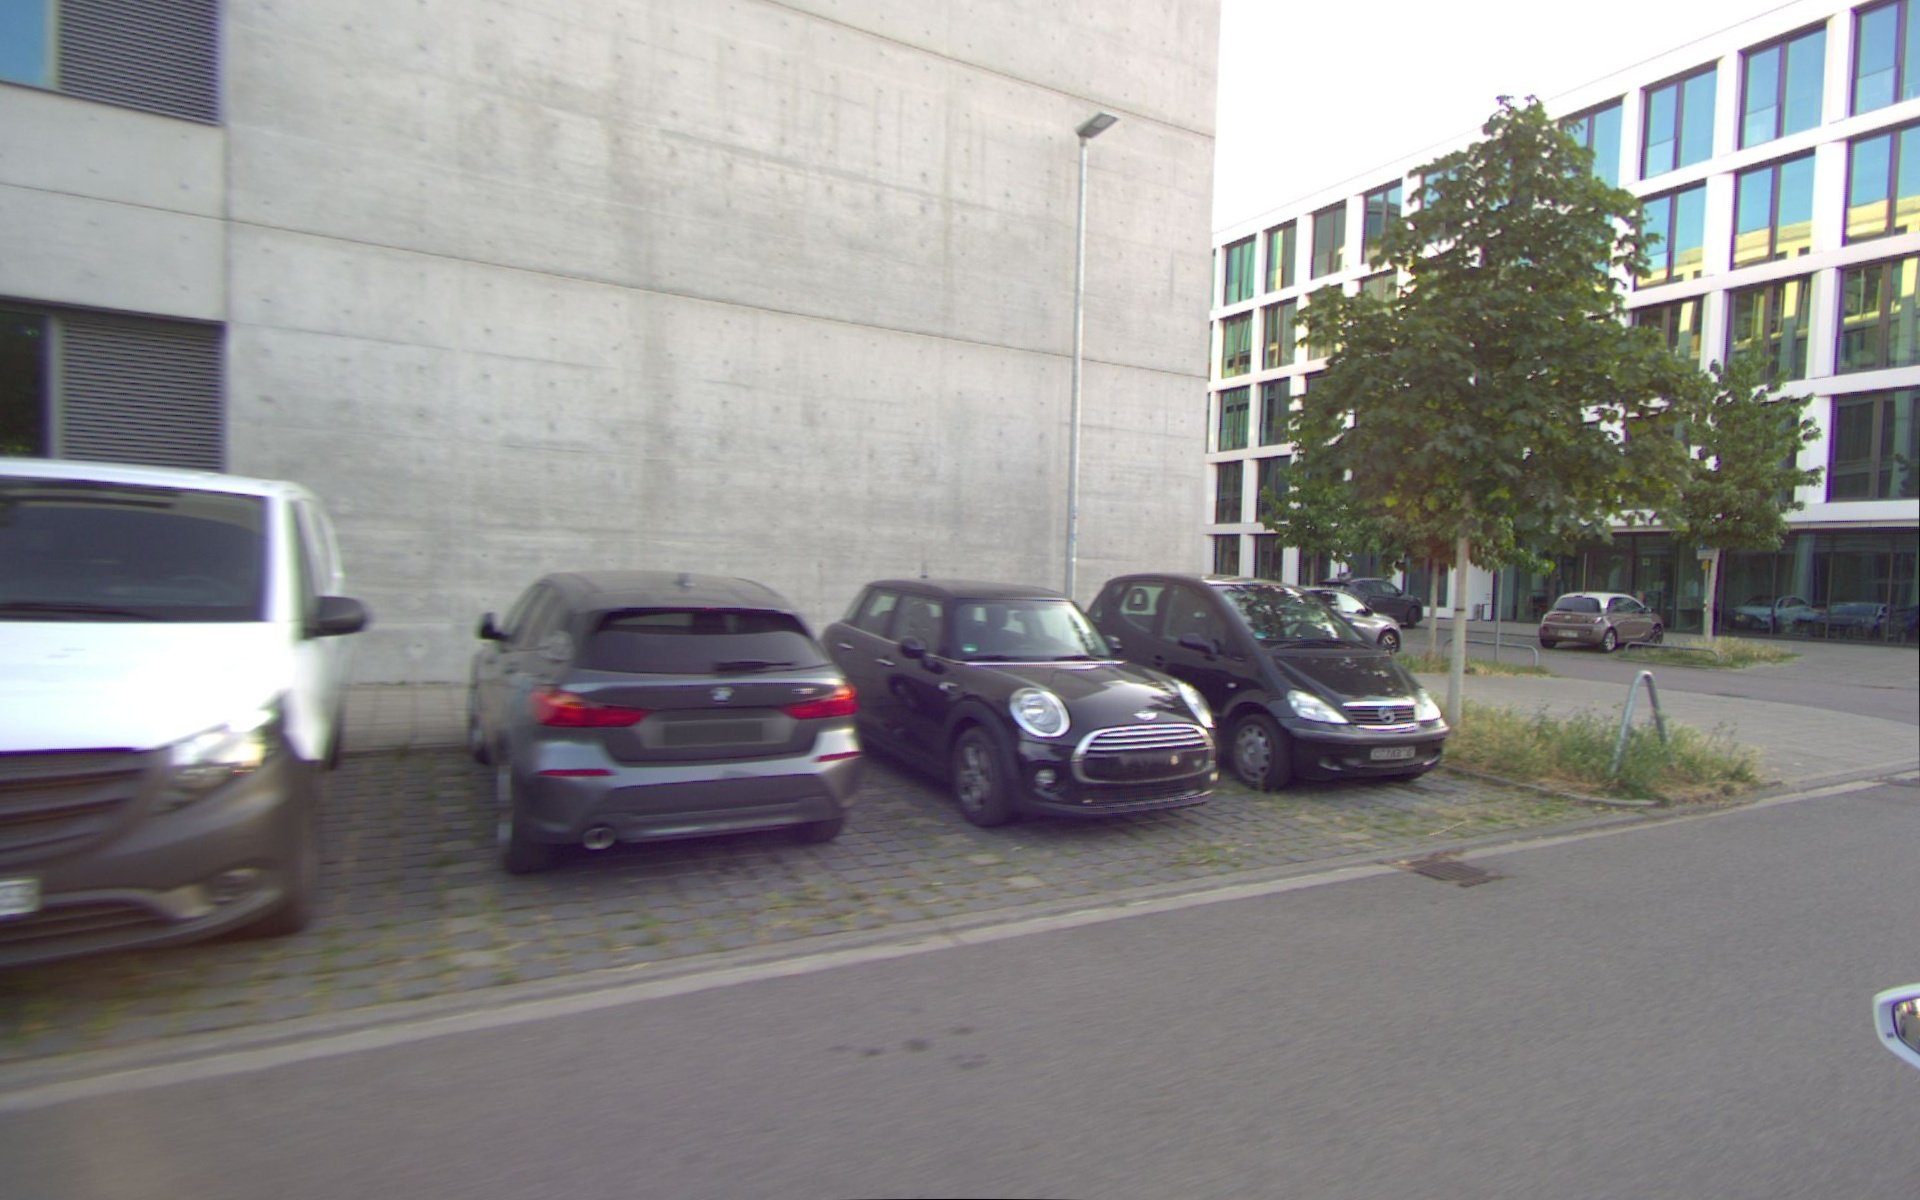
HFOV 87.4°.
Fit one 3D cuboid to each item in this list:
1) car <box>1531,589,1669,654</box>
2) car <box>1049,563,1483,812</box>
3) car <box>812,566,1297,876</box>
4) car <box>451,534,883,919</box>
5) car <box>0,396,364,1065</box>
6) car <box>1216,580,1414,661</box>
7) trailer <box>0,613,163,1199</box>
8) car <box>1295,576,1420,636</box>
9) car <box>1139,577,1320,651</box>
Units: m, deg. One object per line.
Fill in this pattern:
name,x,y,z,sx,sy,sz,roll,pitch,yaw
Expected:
car,17.093,0.522,26.804,3.510,1.506,1.713,-2,3,-31
car,2.441,0.567,8.959,1.638,1.598,3.623,1,4,-25
car,0.387,0.611,7.475,1.632,1.509,3.867,1,4,-30
car,-2.121,0.443,6.315,1.588,1.543,3.965,1,4,-32
car,-4.127,0.203,5.068,1.867,1.973,5.049,1,4,-31
car,7.384,0.437,20.816,3.889,1.506,1.771,2,1,-31
trailer,-2.992,0.698,0.786,3.445,1.367,1.698,1,1,-30
car,12.961,0.130,32.703,4.011,1.740,1.713,-2,3,-31
car,6.185,0.333,22.985,3.889,1.506,1.771,2,1,-31
